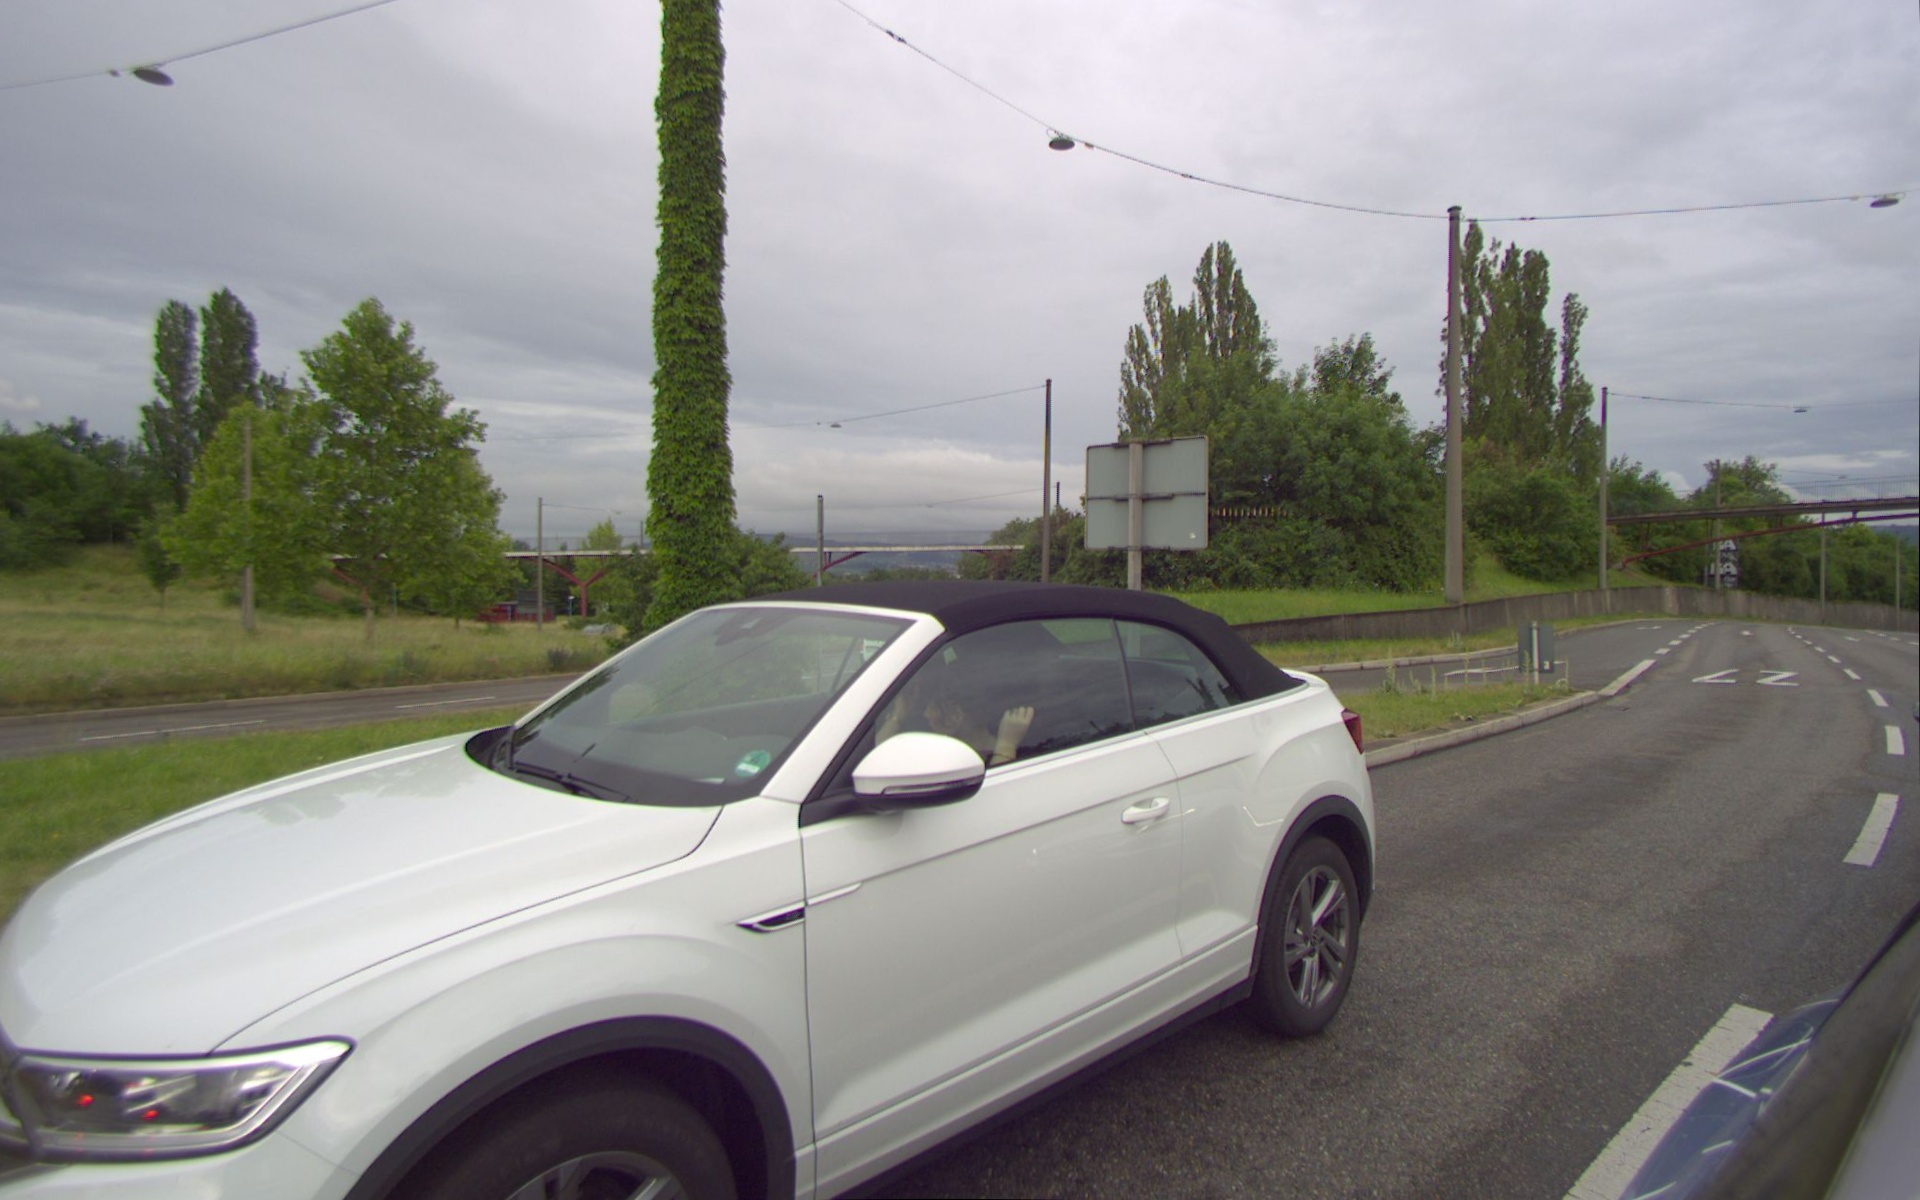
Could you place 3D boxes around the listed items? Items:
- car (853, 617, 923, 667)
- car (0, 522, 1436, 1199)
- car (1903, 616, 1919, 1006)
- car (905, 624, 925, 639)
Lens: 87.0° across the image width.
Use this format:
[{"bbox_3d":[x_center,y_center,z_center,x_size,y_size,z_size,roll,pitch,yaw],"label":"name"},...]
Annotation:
[{"bbox_3d":[-2.833,1.686,41.123,1.965,1.872,4.813,-1,-2,6],"label":"car"},{"bbox_3d":[-0.250,0.661,3.110,4.159,1.572,1.715,-1,1,-43],"label":"car"},{"bbox_3d":[5.554,0.745,4.273,4.063,1.385,1.893,-1,1,-41],"label":"car"},{"bbox_3d":[-4.570,3.223,102.661,1.654,1.438,4.078,-1,-1,2],"label":"car"}]
